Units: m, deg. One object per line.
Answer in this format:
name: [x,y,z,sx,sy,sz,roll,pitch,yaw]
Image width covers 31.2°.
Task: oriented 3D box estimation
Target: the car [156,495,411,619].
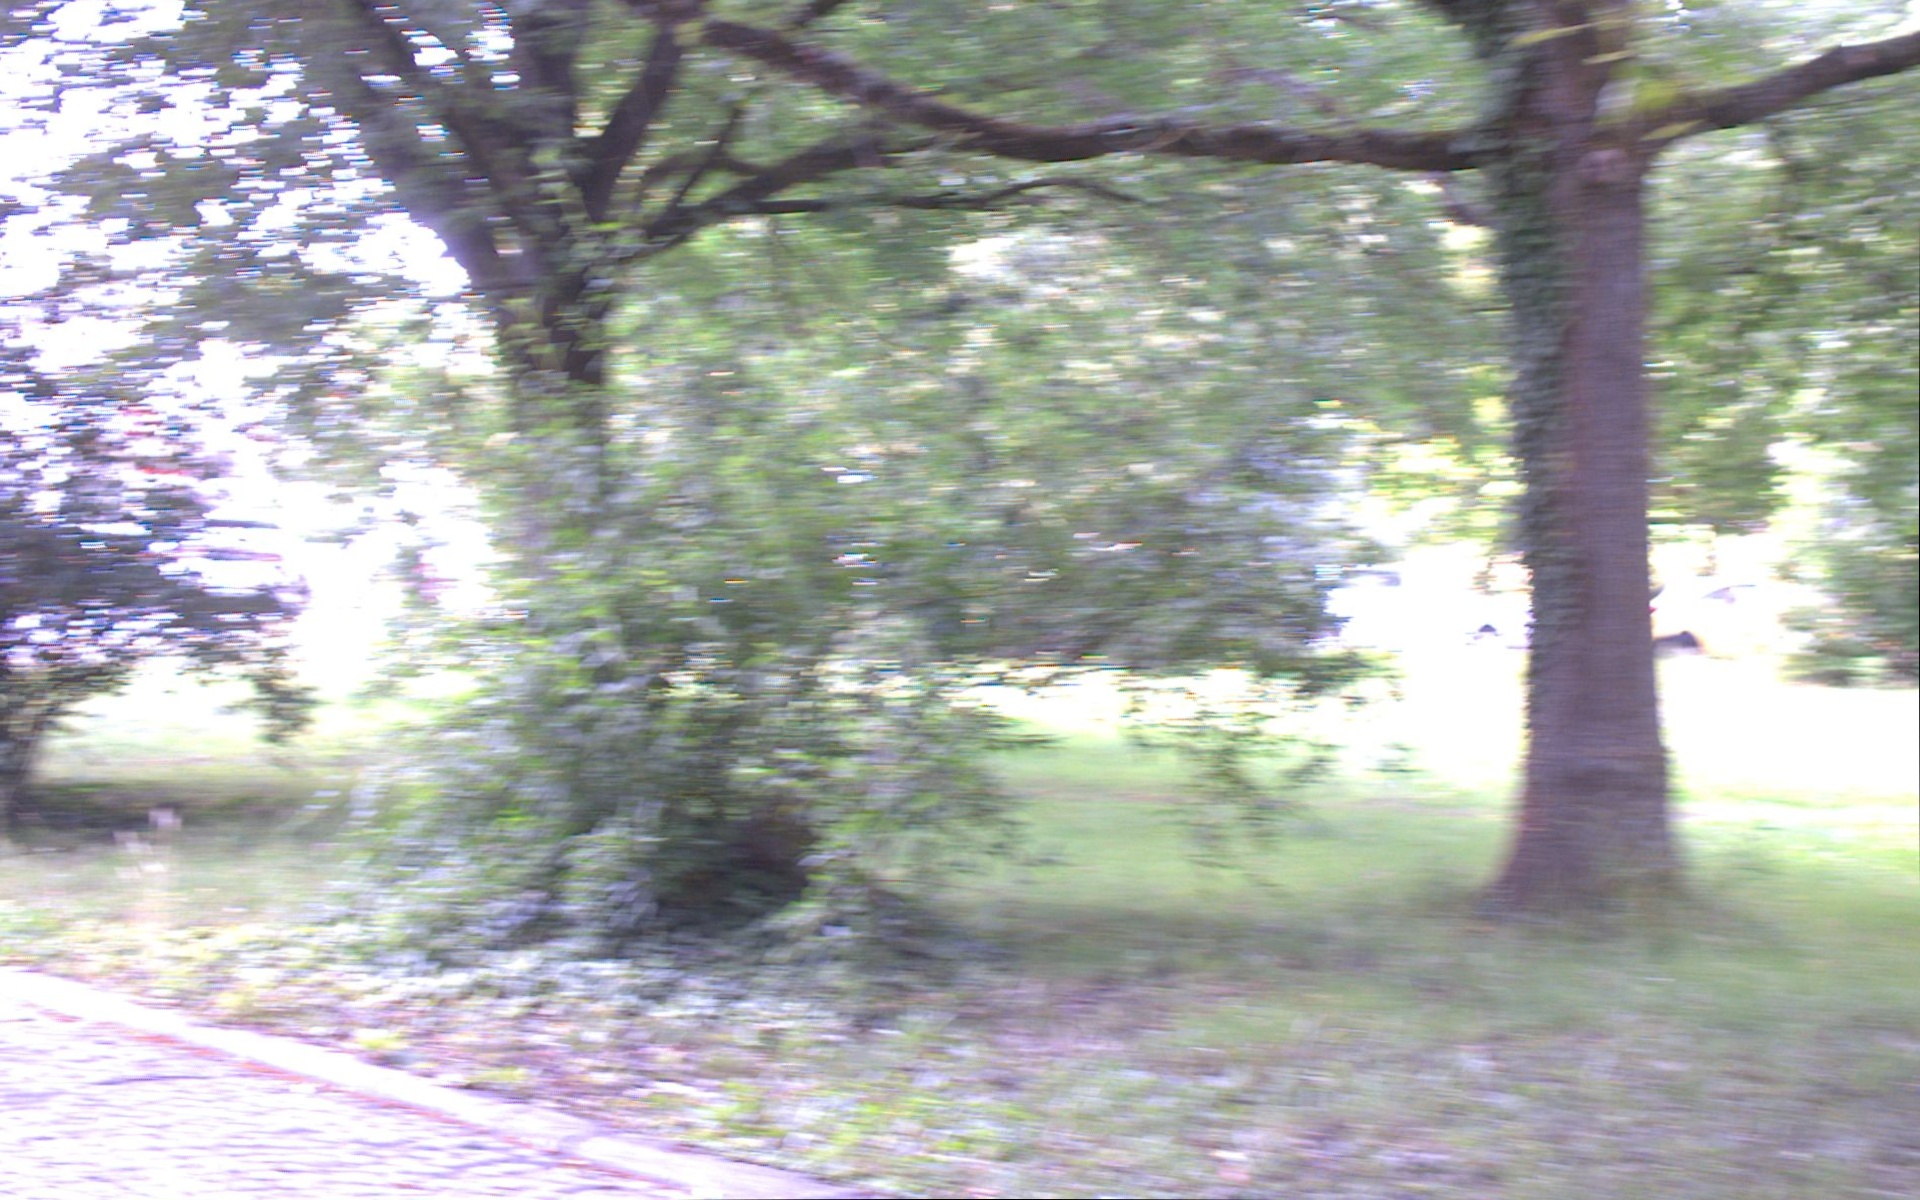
car: [-9.973,-0.663,51.045,1.982,1.678,4.572,3,2,13]
